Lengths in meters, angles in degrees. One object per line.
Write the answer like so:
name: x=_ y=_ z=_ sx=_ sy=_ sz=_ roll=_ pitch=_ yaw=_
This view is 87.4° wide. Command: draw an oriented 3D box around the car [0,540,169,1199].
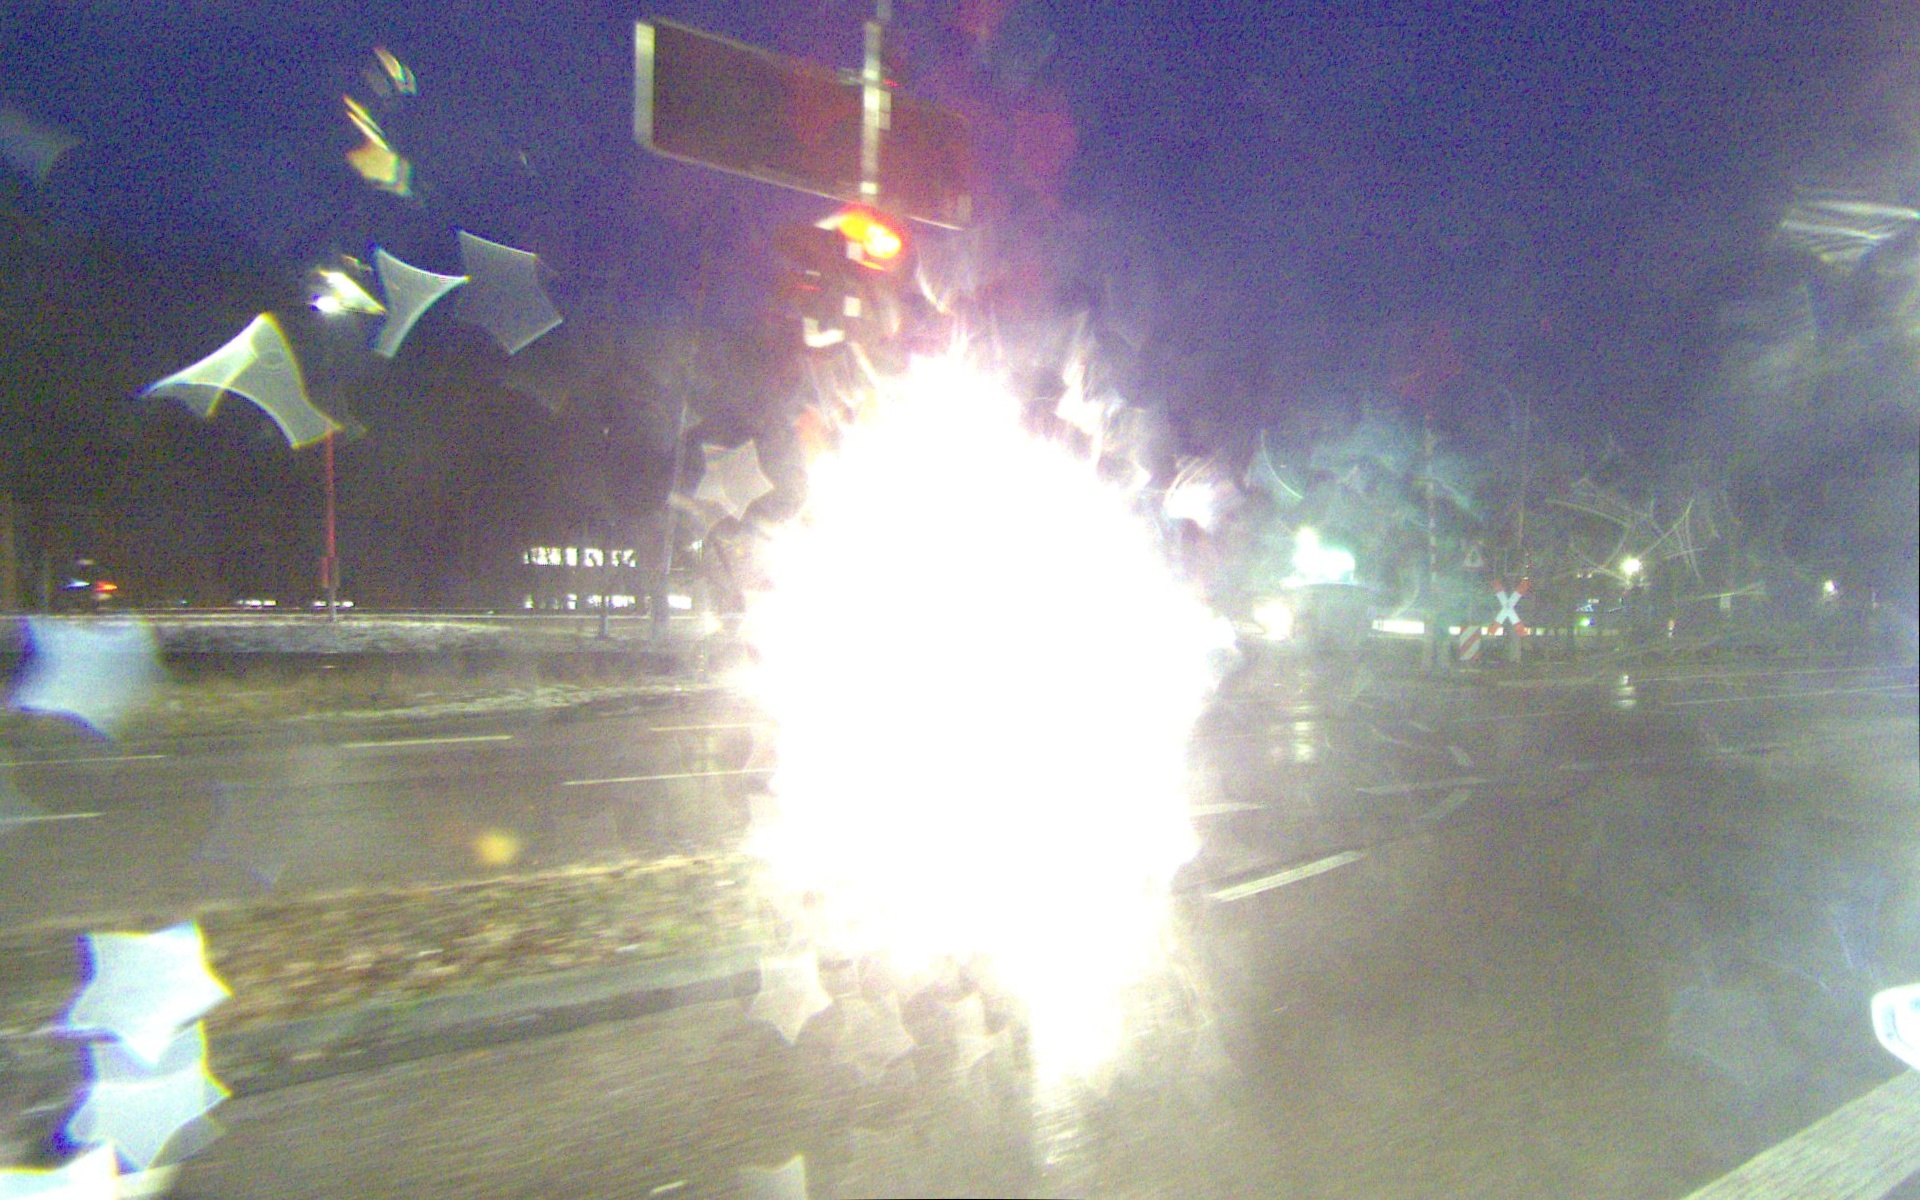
car: x=-3.520 y=0.627 z=0.691 sx=4.381 sy=1.531 sz=1.776 roll=1 pitch=-1 yaw=-29

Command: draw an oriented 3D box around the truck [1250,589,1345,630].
truck: x=20.625 y=0.591 z=61.326 sx=5.946 sy=2.302 sz=1.985 roll=1 pitch=1 yaw=-28

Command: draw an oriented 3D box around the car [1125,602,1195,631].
car: x=11.151 y=0.911 z=55.875 sx=3.968 sy=1.539 sz=1.706 roll=1 pitch=1 yaw=-41

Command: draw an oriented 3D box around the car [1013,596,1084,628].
car: x=4.487 y=0.603 z=50.577 sx=1.699 sy=1.539 sz=3.985 roll=2 pitch=0 yaw=36

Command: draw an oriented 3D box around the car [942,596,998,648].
car: x=0.386 y=0.655 z=32.645 sx=1.485 sy=1.538 sz=4.375 roll=2 pitch=1 yaw=4
